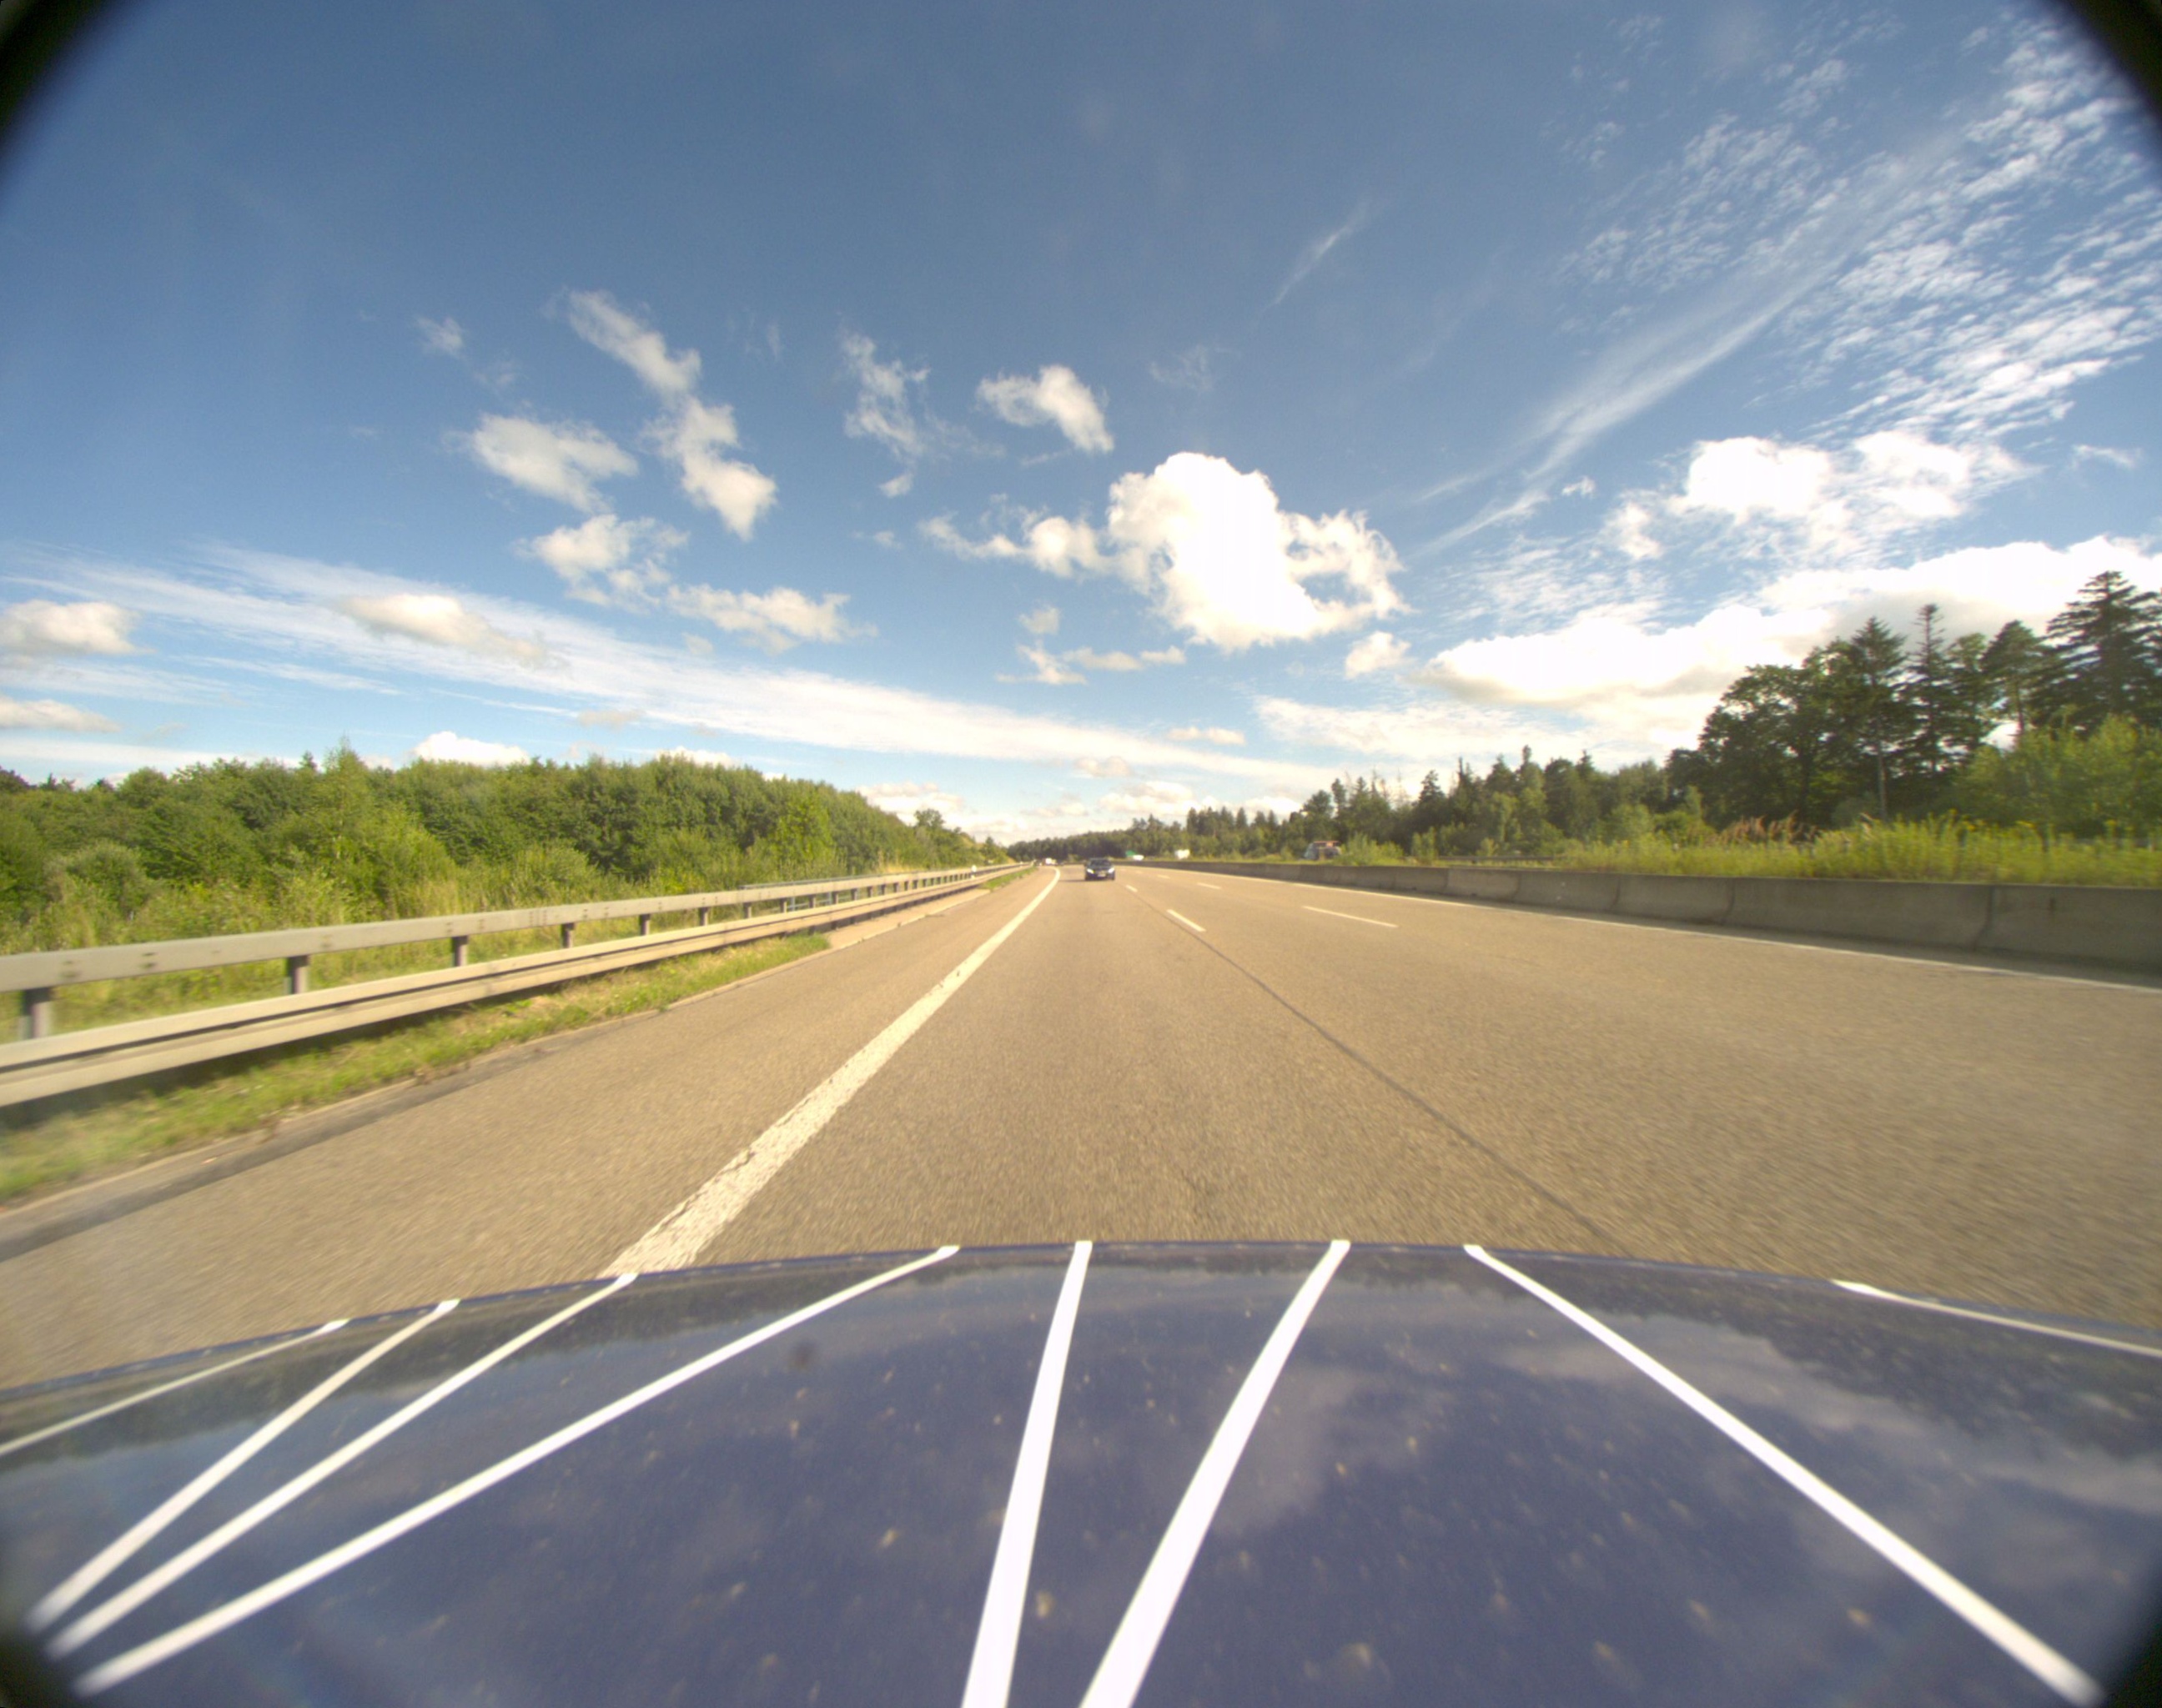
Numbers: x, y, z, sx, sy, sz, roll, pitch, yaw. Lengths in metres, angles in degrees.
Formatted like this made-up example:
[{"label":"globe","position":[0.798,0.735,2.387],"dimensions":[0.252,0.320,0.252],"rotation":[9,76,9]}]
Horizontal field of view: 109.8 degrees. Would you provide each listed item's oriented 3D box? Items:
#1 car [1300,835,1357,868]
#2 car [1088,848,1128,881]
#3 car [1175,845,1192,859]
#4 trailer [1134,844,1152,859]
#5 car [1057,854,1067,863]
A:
[{"label":"car","position":[19.497,-0.185,60.194],"dimensions":[2.316,2.304,6.192],"rotation":[-5,0,0]},{"label":"car","position":[1.586,0.621,45.926],"dimensions":[1.999,1.827,3.999],"rotation":[-2,0,-3]},{"label":"car","position":[17.529,-0.300,130.419],"dimensions":[2.070,2.231,5.203],"rotation":[-2,0,0]},{"label":"trailer","position":[16.991,-0.700,209.886],"dimensions":[3.384,3.985,13.637],"rotation":[-2,0,-2]},{"label":"car","position":[-4.276,0.971,173.381],"dimensions":[1.998,2.002,4.000],"rotation":[-3,0,2]}]
